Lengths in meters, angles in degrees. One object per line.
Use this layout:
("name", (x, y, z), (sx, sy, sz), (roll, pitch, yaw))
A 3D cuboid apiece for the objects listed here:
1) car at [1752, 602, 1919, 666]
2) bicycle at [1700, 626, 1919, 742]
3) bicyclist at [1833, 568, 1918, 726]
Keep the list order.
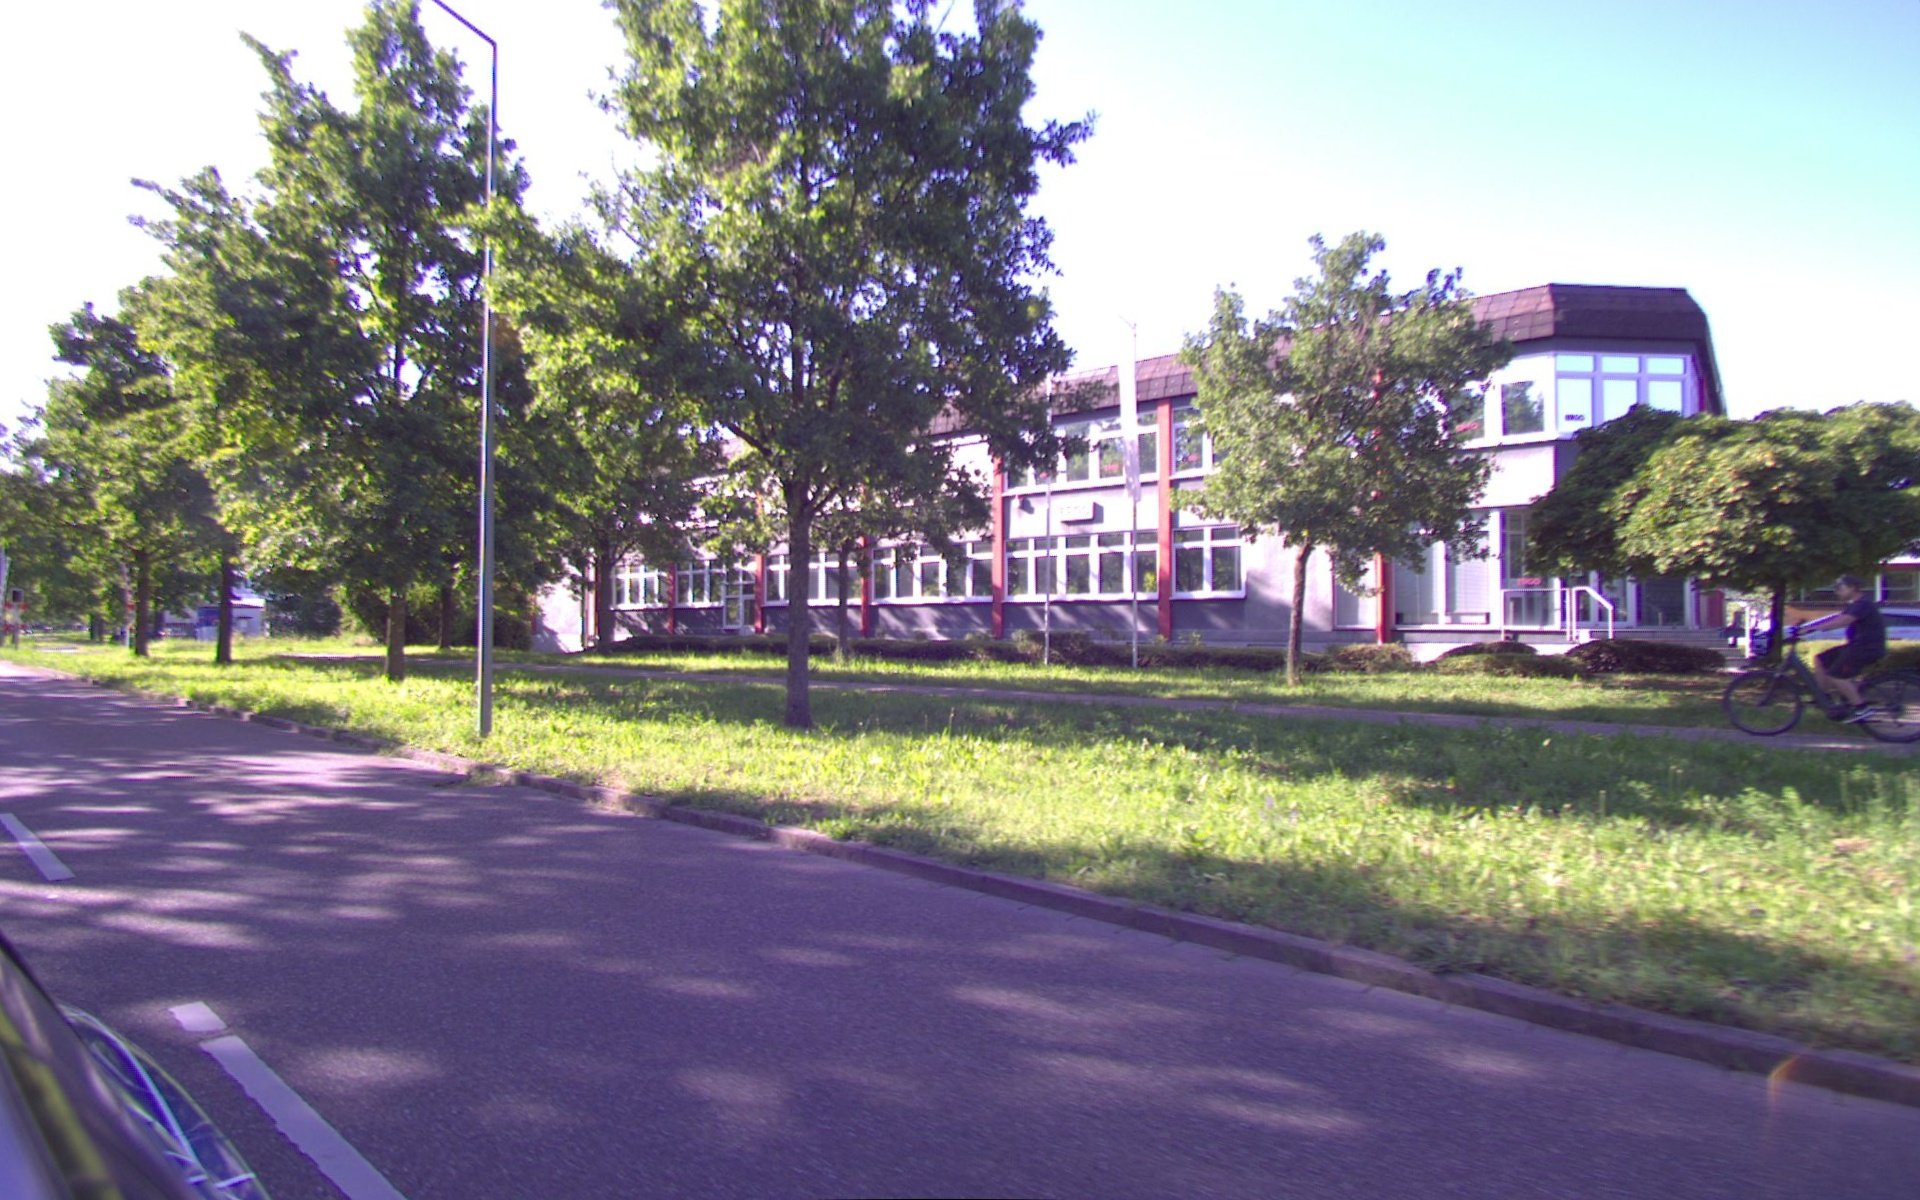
("car", (23.628, 0.850, 26.671), (4.293, 1.505, 1.974), (1, 1, 38))
("bicycle", (9.637, 0.892, 11.167), (2.333, 1.170, 0.545), (0, 0, 41))
("bicyclist", (9.901, 0.485, 10.967), (0.658, 1.641, 0.657), (-1, 0, 41))
